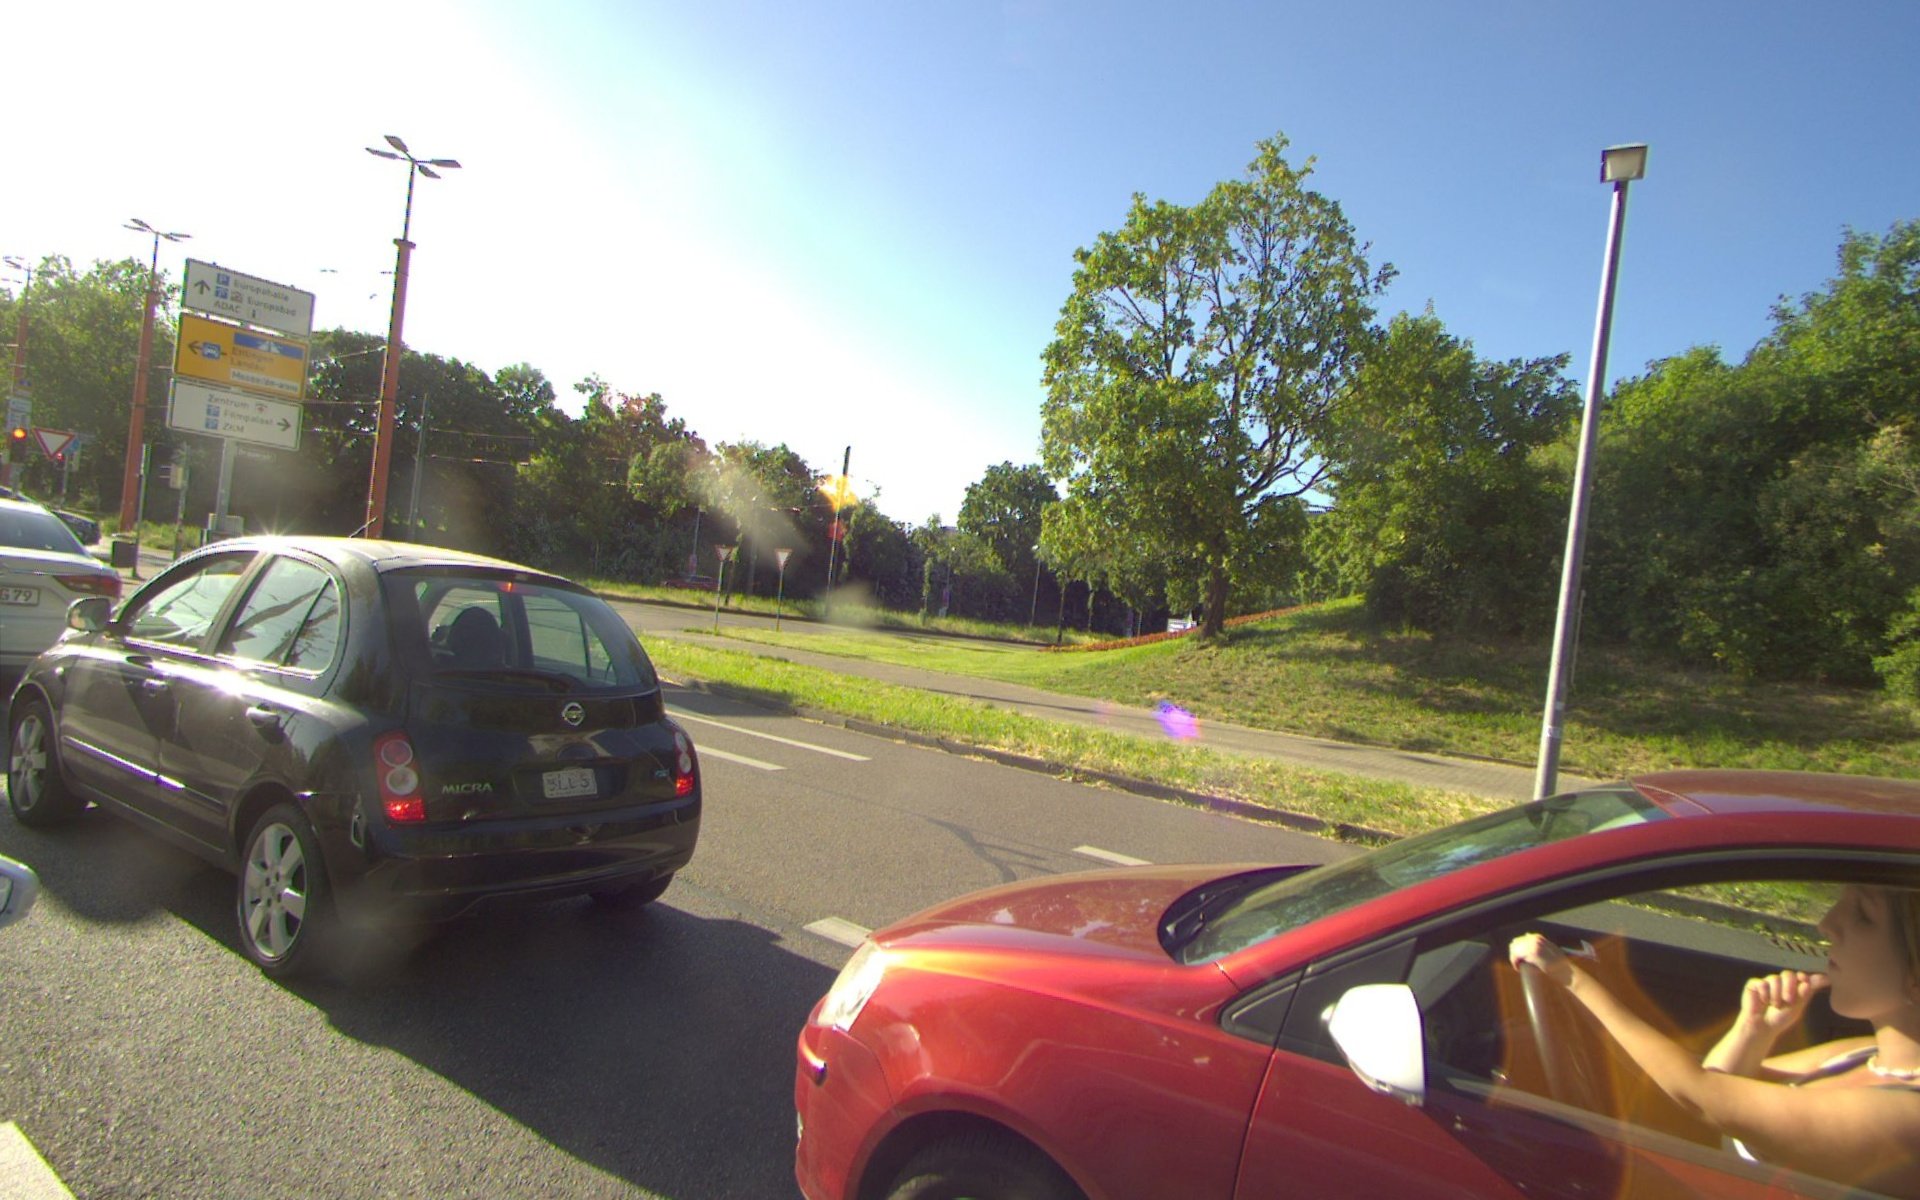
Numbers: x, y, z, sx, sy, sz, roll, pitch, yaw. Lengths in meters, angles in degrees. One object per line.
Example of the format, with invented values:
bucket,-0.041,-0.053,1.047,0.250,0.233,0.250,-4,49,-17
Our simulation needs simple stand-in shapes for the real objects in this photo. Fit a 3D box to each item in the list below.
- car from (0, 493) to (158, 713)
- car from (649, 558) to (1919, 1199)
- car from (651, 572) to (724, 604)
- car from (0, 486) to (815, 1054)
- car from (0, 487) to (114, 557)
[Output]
car,-8.379,-0.188,8.029,4.295,1.482,1.769,7,0,33
car,1.804,1.007,1.633,4.649,1.577,1.769,7,0,33
car,-18.110,-0.768,66.898,4.244,1.513,1.984,8,0,-31
car,-3.082,0.416,4.888,4.546,1.500,1.737,7,0,32
car,-28.373,-2.463,29.801,4.644,1.724,1.984,8,-1,-31
